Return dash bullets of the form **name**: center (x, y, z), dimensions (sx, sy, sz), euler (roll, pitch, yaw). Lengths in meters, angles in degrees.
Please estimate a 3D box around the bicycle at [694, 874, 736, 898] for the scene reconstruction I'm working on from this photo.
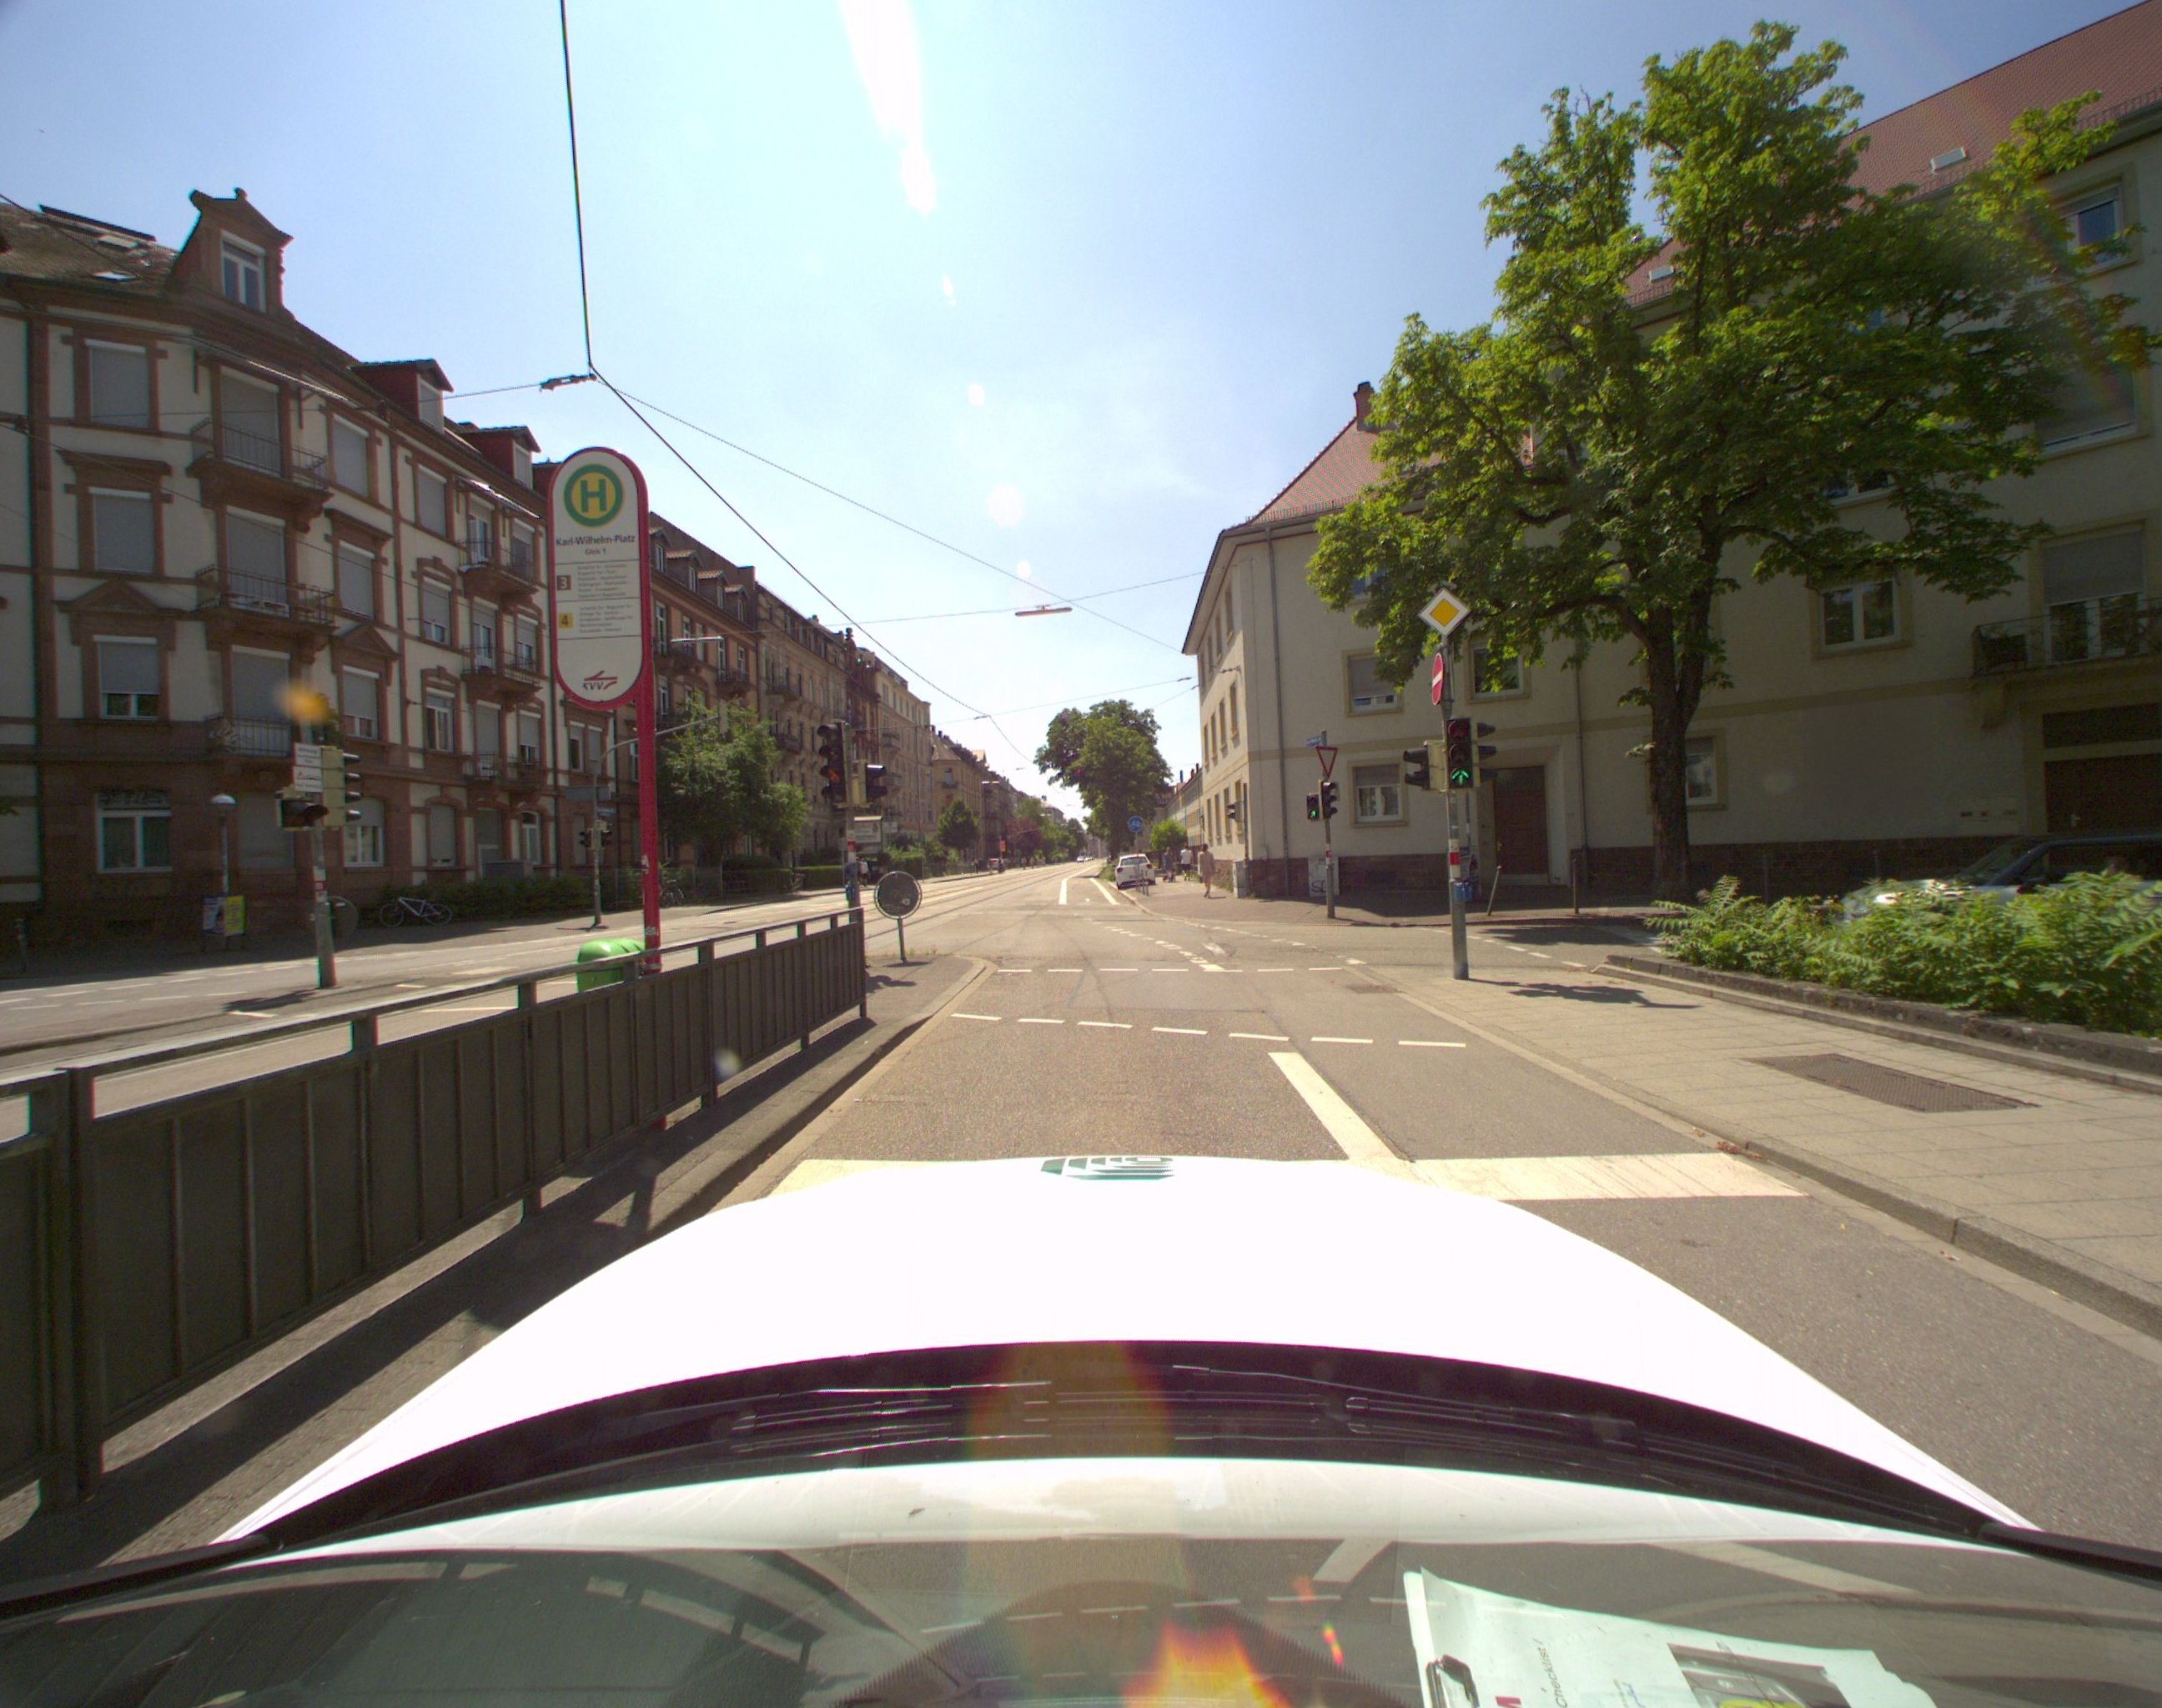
- **bicycle**: center (-16.372, 1.437, 36.421), dimensions (1.639, 0.996, 0.495), euler (-2, 0, 3)

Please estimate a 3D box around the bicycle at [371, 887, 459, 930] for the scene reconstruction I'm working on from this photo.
- **bicycle**: center (-19.513, 1.578, 23.901), dimensions (0.461, 1.108, 1.936), euler (-3, 0, 40)

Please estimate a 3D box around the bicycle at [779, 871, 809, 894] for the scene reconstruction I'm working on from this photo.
- **bicycle**: center (-14.495, 1.427, 41.147), dimensions (0.635, 1.093, 1.934), euler (0, 0, 6)

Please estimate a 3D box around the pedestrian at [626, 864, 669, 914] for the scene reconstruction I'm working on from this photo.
- **pedestrian**: center (-15.421, 1.223, 28.988), dimensions (0.867, 1.700, 1.016), euler (-2, 0, 8)

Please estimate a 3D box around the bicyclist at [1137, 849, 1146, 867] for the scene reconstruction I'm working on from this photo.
- **bicyclist**: center (4.961, 0.296, 66.798), dimensions (0.707, 1.452, 1.011), euler (-2, 0, 4)

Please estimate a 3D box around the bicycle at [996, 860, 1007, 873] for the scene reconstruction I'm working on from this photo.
- **bicycle**: center (-8.569, 1.361, 87.679), dimensions (0.804, 1.271, 2.553), euler (-2, 0, 3)

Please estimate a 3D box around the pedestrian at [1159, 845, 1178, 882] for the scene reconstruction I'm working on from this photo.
- **pedestrian**: center (4.096, 0.428, 38.187), dimensions (0.695, 1.669, 0.869), euler (-5, 0, 1)

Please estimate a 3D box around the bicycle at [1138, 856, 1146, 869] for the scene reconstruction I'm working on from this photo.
- **bicycle**: center (4.969, 0.688, 66.773), dimensions (0.599, 1.051, 1.825), euler (-2, 0, 5)

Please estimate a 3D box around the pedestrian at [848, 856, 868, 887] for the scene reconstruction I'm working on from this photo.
- **pedestrian**: center (-13.662, 1.077, 49.879), dimensions (0.820, 1.857, 0.868), euler (-2, 0, -37)

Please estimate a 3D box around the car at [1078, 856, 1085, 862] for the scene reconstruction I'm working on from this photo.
- **car**: center (0.086, 1.291, 205.500), dimensions (1.678, 1.449, 4.002), euler (-3, 0, 2)

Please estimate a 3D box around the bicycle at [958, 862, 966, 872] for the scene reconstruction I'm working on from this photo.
- **bicycle**: center (-12.071, 1.334, 82.648), dimensions (0.495, 0.987, 1.711), euler (2, 0, 1)

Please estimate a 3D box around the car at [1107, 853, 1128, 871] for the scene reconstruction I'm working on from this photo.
- **car**: center (3.163, 0.686, 71.058), dimensions (1.651, 1.515, 3.999), euler (-2, 0, 0)

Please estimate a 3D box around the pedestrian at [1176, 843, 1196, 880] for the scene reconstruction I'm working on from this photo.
- **pedestrian**: center (4.955, 0.339, 38.468), dimensions (0.695, 1.669, 0.756), euler (-5, 0, 1)

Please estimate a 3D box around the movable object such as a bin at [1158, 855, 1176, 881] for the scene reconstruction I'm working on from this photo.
- **movable object such as a bin**: center (4.138, 0.662, 39.140), dimensions (0.695, 1.186, 1.037), euler (-5, 0, 1)

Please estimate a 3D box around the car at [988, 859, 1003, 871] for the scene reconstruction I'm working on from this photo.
- **car**: center (-12.112, 1.568, 115.916), dimensions (1.861, 1.600, 4.098), euler (-1, 0, -3)

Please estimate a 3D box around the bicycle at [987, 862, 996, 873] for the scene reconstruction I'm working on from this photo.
- **bicycle**: center (-8.677, 1.319, 78.924), dimensions (0.565, 1.038, 1.830), euler (-2, 0, 3)

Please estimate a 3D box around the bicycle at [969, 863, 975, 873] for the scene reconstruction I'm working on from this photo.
- **bicycle**: center (-11.756, 1.518, 87.787), dimensions (0.437, 0.983, 1.711), euler (-2, 0, 1)

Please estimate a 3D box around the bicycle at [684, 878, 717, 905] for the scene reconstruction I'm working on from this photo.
- **bicycle**: center (-15.684, 1.536, 33.574), dimensions (0.457, 1.056, 1.567), euler (-2, 0, 6)

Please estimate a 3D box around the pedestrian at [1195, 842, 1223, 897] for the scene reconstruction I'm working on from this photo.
- **pedestrian**: center (3.981, 0.485, 25.339), dimensions (0.695, 1.669, 0.756), euler (-2, 0, 1)

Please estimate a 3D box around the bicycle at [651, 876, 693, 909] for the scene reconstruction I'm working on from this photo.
- **bicycle**: center (-15.764, 1.457, 31.420), dimensions (0.570, 1.169, 1.718), euler (-2, 0, 6)

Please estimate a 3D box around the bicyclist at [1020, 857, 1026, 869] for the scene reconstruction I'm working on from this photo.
- **bicyclist**: center (-8.031, 1.206, 112.649), dimensions (0.631, 1.584, 1.029), euler (-3, 0, 2)

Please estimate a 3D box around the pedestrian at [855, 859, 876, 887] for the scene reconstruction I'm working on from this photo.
- **pedestrian**: center (-13.452, 1.157, 50.842), dimensions (0.899, 1.700, 0.829), euler (-3, 0, 35)

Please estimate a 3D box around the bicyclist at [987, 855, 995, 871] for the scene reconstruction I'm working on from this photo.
- **bicyclist**: center (-8.688, 0.868, 78.923), dimensions (0.560, 1.515, 0.892), euler (-2, 0, 3)

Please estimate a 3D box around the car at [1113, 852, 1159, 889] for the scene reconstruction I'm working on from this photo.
- **car**: center (2.461, 0.709, 37.121), dimensions (1.771, 1.410, 4.157), euler (-7, 0, 1)

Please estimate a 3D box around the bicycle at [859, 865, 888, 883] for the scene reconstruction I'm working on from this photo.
- **bicycle**: center (-14.285, 1.399, 56.016), dimensions (1.864, 1.227, 0.568), euler (0, 0, -1)

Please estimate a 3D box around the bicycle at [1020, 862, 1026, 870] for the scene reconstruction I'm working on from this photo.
- **bicycle**: center (-7.997, 1.694, 112.727), dimensions (0.626, 1.078, 1.876), euler (-3, 0, 2)

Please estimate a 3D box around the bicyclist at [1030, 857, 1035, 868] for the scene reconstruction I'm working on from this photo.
- **bicyclist**: center (-6.725, 1.169, 112.805), dimensions (0.590, 1.544, 0.952), euler (-3, 0, 2)

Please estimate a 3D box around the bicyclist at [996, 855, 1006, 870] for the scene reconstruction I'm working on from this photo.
- **bicyclist**: center (-8.594, 0.928, 87.648), dimensions (0.804, 1.629, 0.981), euler (-2, 0, 3)

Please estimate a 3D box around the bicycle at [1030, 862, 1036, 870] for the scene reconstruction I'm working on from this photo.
- **bicycle**: center (-6.695, 1.635, 112.786), dimensions (0.579, 1.078, 1.891), euler (-3, 0, 2)

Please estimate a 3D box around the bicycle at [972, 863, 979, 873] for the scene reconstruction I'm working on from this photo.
- **bicycle**: center (-11.651, 1.530, 89.827), dimensions (0.437, 0.983, 1.711), euler (-2, 0, 1)

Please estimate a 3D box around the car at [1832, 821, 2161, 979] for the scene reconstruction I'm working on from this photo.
- **car**: center (10.211, 0.417, 8.348), dimensions (1.705, 1.445, 3.581), euler (-2, 0, -45)
